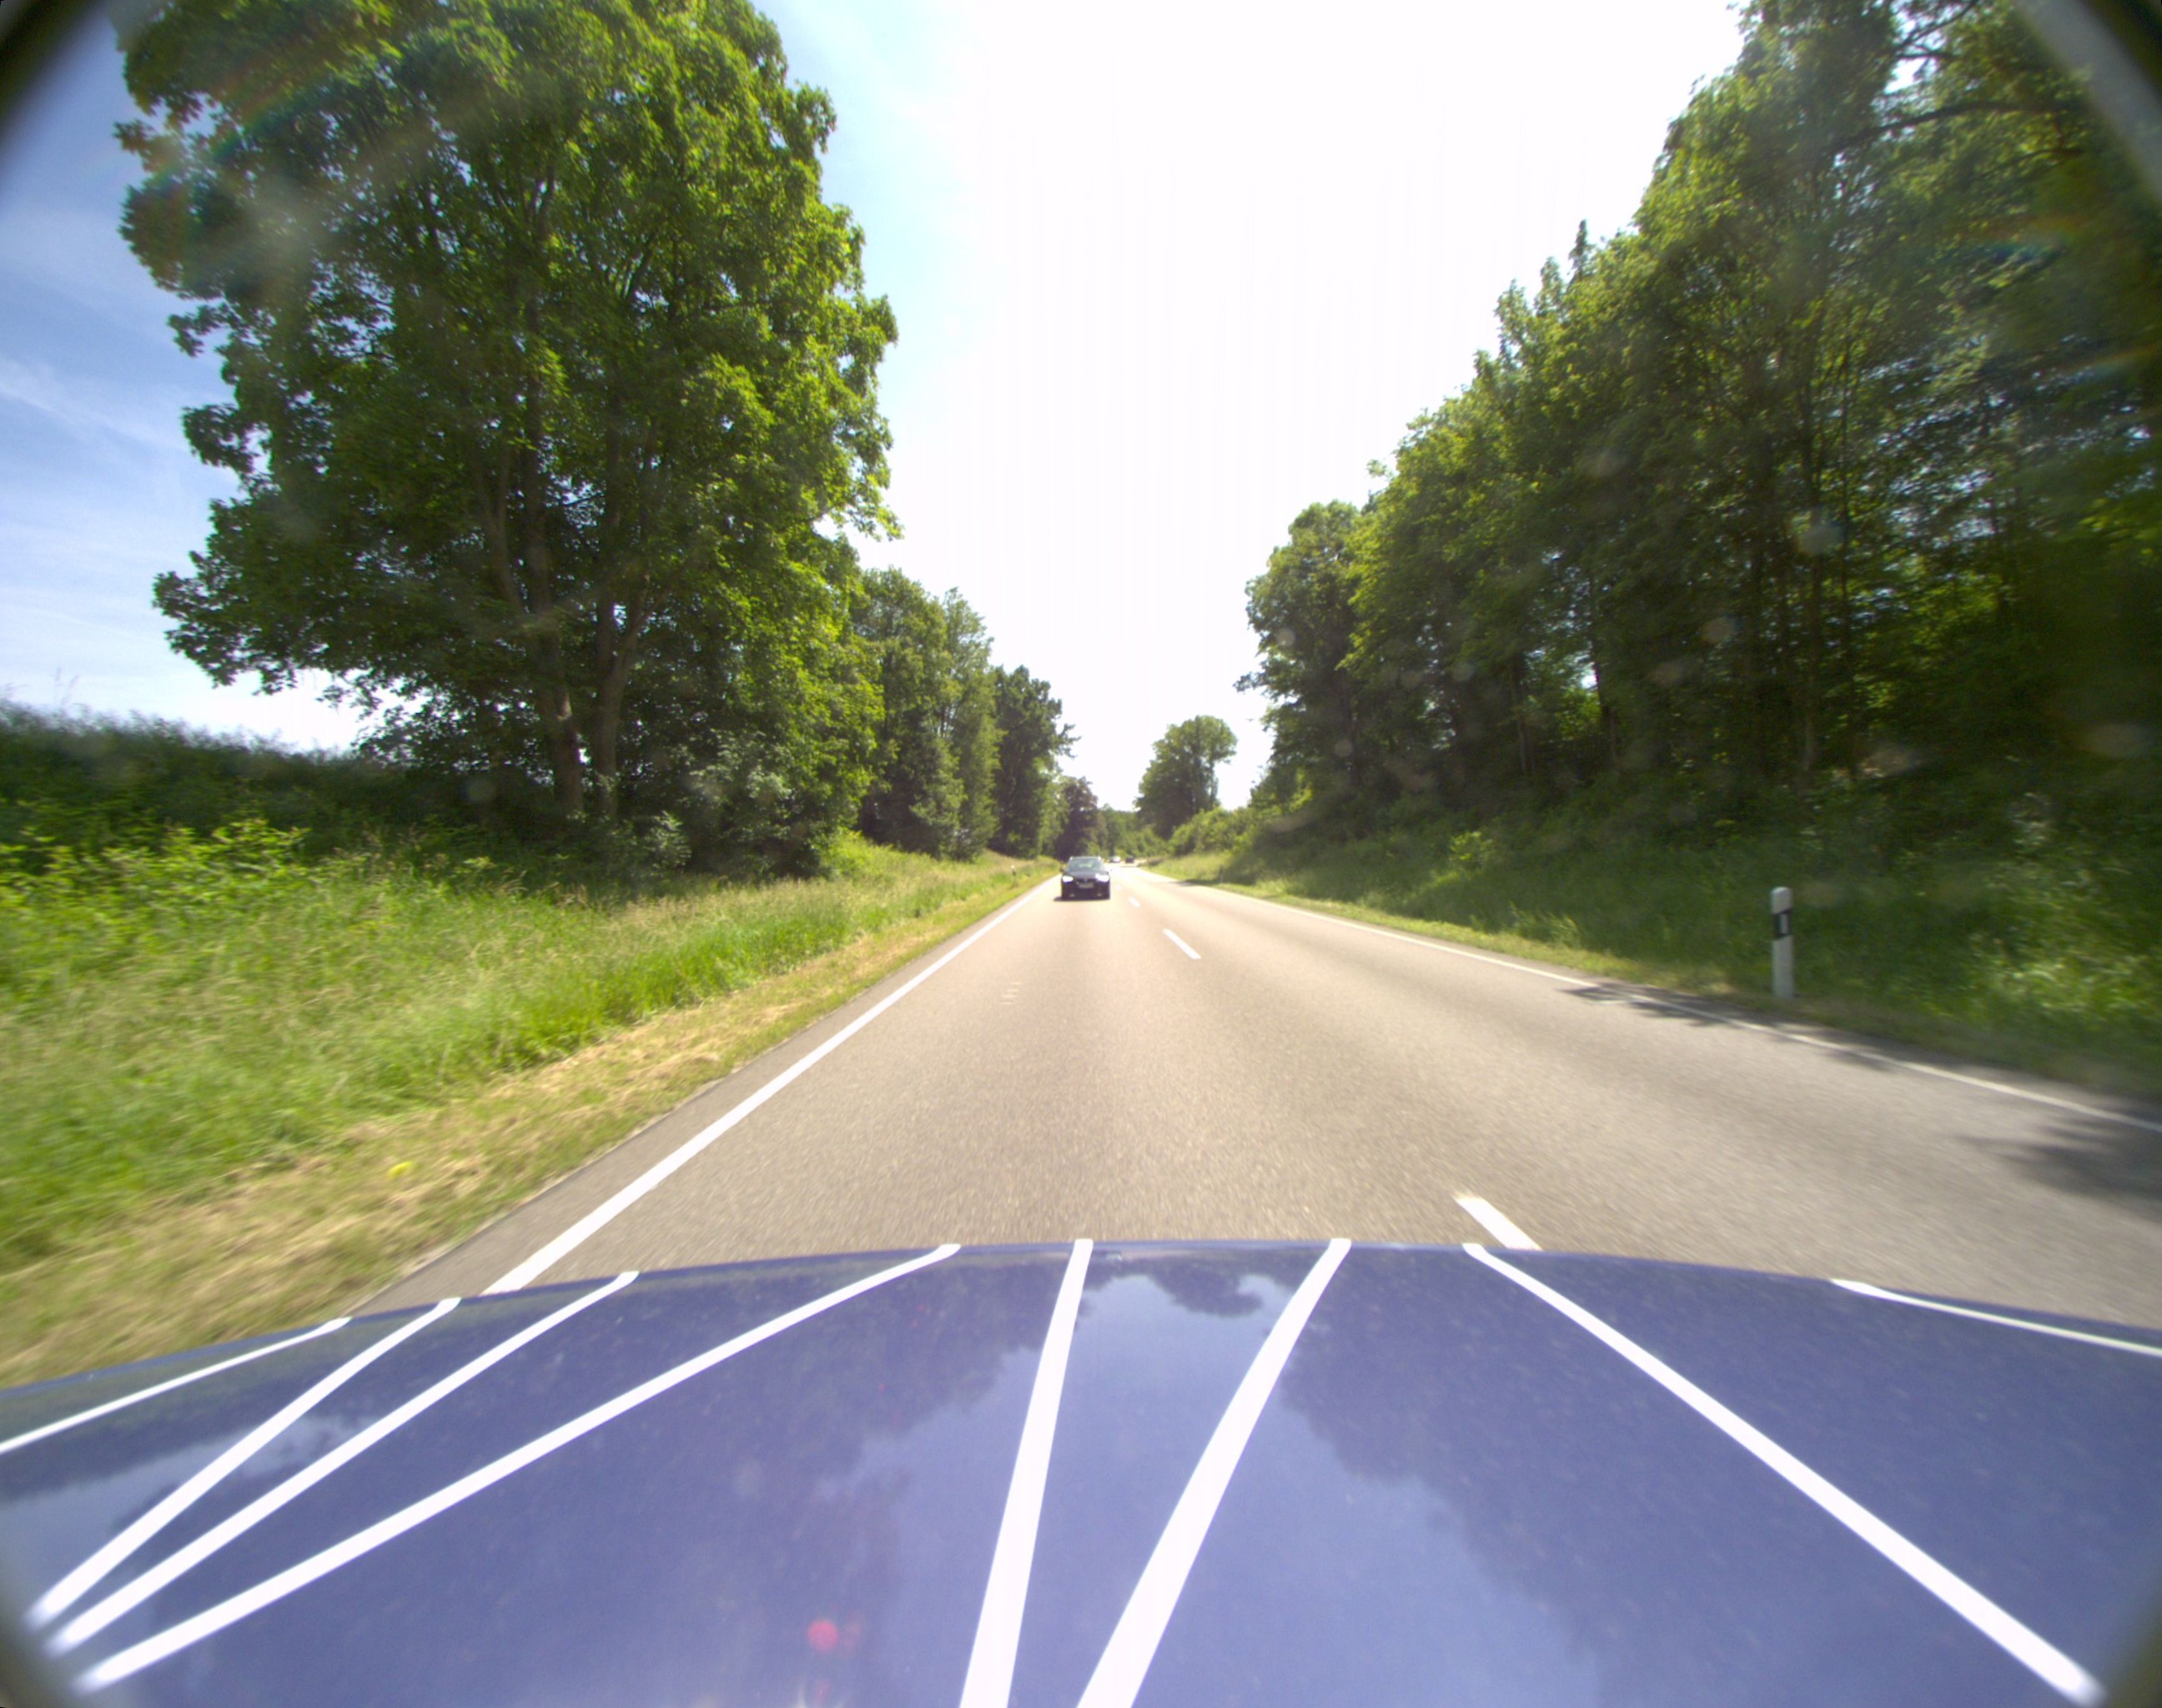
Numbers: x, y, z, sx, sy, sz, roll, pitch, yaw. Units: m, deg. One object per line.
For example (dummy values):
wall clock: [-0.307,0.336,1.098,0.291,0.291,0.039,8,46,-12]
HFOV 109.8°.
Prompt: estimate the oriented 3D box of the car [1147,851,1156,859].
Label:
car: [17.248,0.164,185.766,1.998,2.002,4.002,-1,0,6]

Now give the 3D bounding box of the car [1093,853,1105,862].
car: [3.098,0.571,130.479,1.811,1.580,4.001,-1,0,4]

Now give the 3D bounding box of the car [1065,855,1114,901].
car: [0.334,0.841,28.029,1.661,1.531,3.487,-1,0,2]

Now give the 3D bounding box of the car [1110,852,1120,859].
car: [7.309,0.332,164.240,1.811,1.580,4.002,-1,0,6]

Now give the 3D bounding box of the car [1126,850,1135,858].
car: [10.107,0.068,154.414,1.776,1.561,4.218,0,0,2]
